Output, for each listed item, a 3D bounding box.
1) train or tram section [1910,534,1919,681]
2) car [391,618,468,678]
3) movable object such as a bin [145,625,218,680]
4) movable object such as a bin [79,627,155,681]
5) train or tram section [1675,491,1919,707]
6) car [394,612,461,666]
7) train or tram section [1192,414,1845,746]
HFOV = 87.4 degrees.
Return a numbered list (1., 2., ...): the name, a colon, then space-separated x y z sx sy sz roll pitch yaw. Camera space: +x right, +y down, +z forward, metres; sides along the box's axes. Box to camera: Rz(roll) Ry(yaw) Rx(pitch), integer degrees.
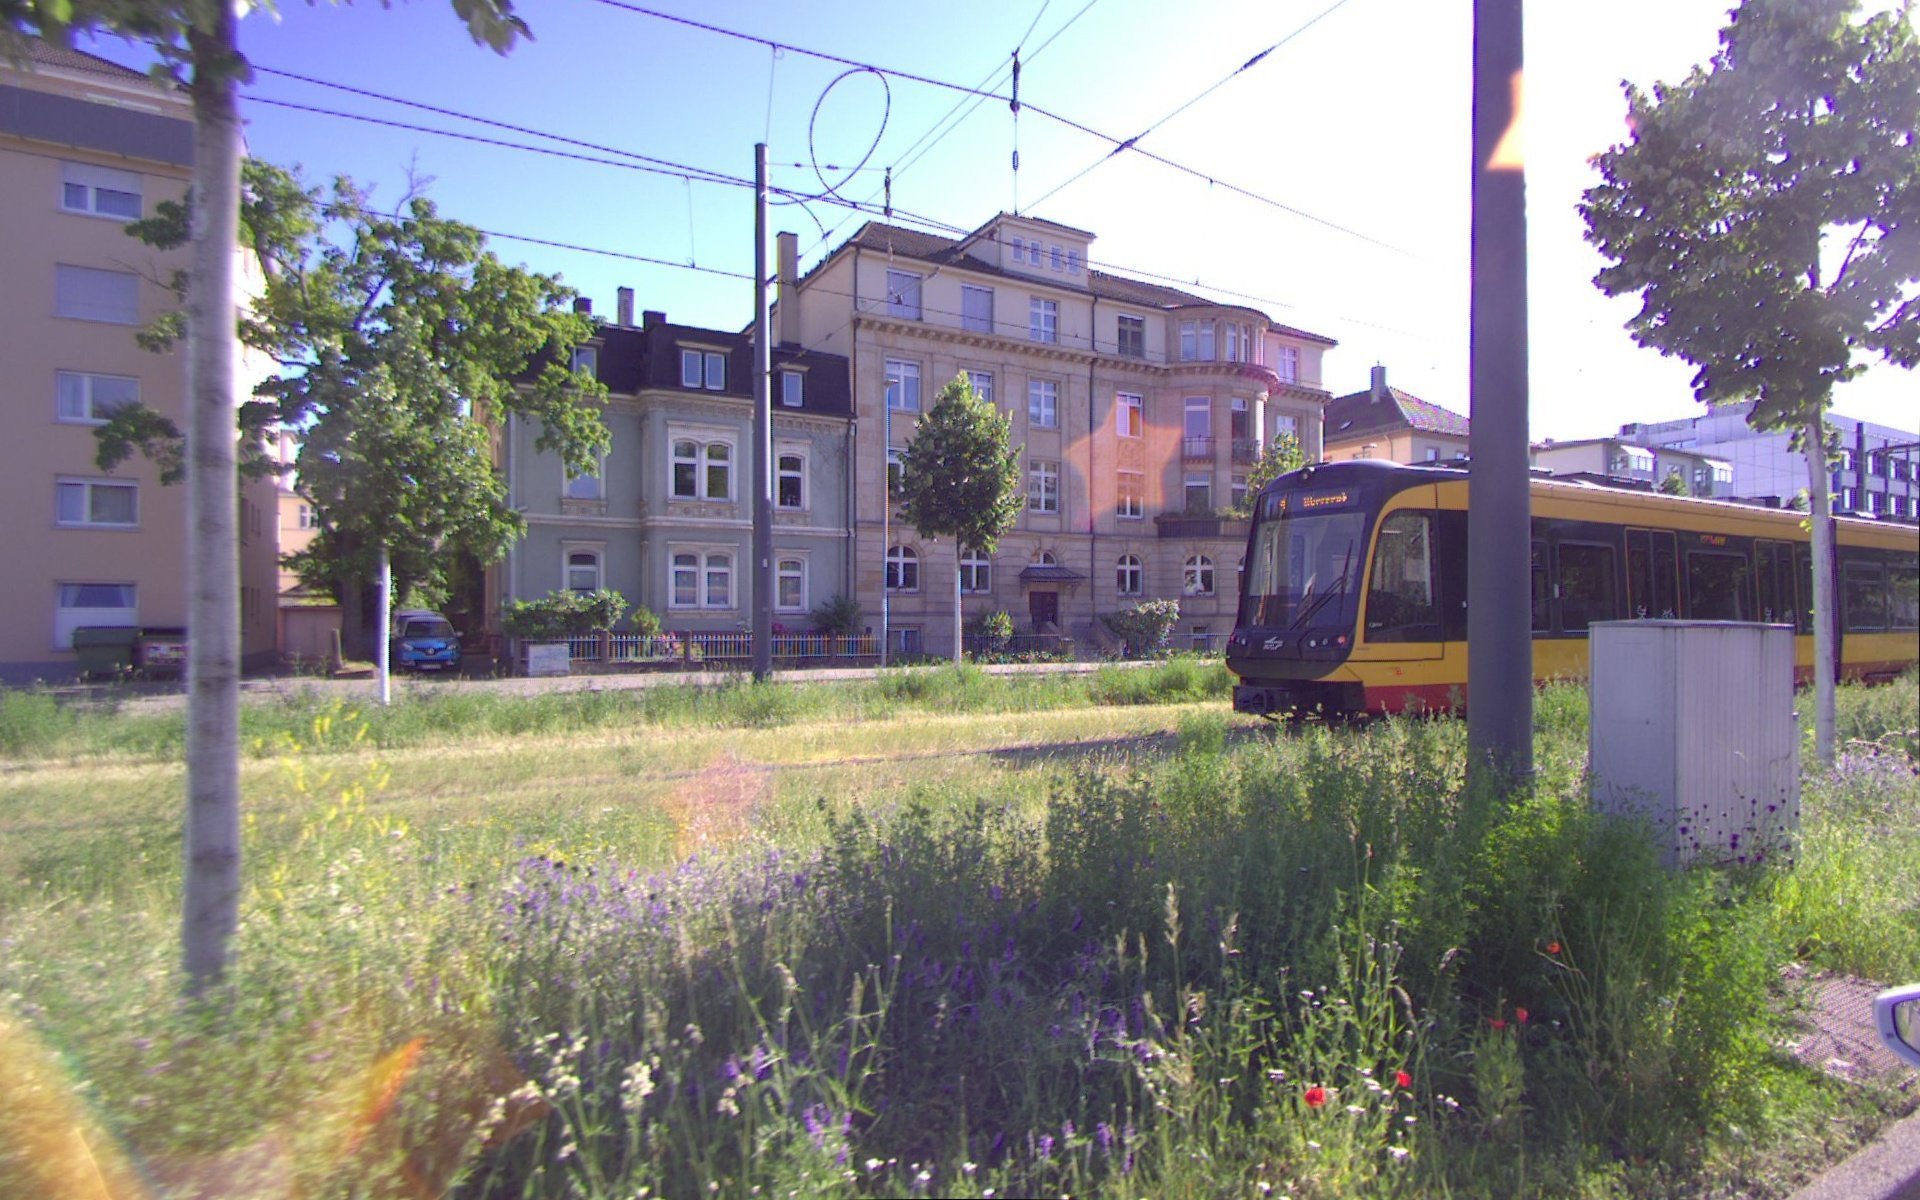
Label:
1. train or tram section: 30.376 0.311 28.349 9.856 3.906 2.599 1 0 -31
2. car: -16.686 1.431 31.523 1.894 1.750 3.966 1 -1 -31
3. movable object such as a bin: -21.062 1.409 27.228 1.309 1.418 1.259 1 0 -27
4. movable object such as a bin: -22.444 1.416 26.783 1.311 1.388 1.258 1 -1 -30
5. train or tram section: 20.617 0.103 22.439 12.940 3.872 2.597 1 0 -31
6. car: -19.152 1.355 36.049 1.894 1.816 3.966 1 -1 -31
7. train or tram section: 9.457 -0.099 15.704 13.186 3.705 2.598 1 0 -31
